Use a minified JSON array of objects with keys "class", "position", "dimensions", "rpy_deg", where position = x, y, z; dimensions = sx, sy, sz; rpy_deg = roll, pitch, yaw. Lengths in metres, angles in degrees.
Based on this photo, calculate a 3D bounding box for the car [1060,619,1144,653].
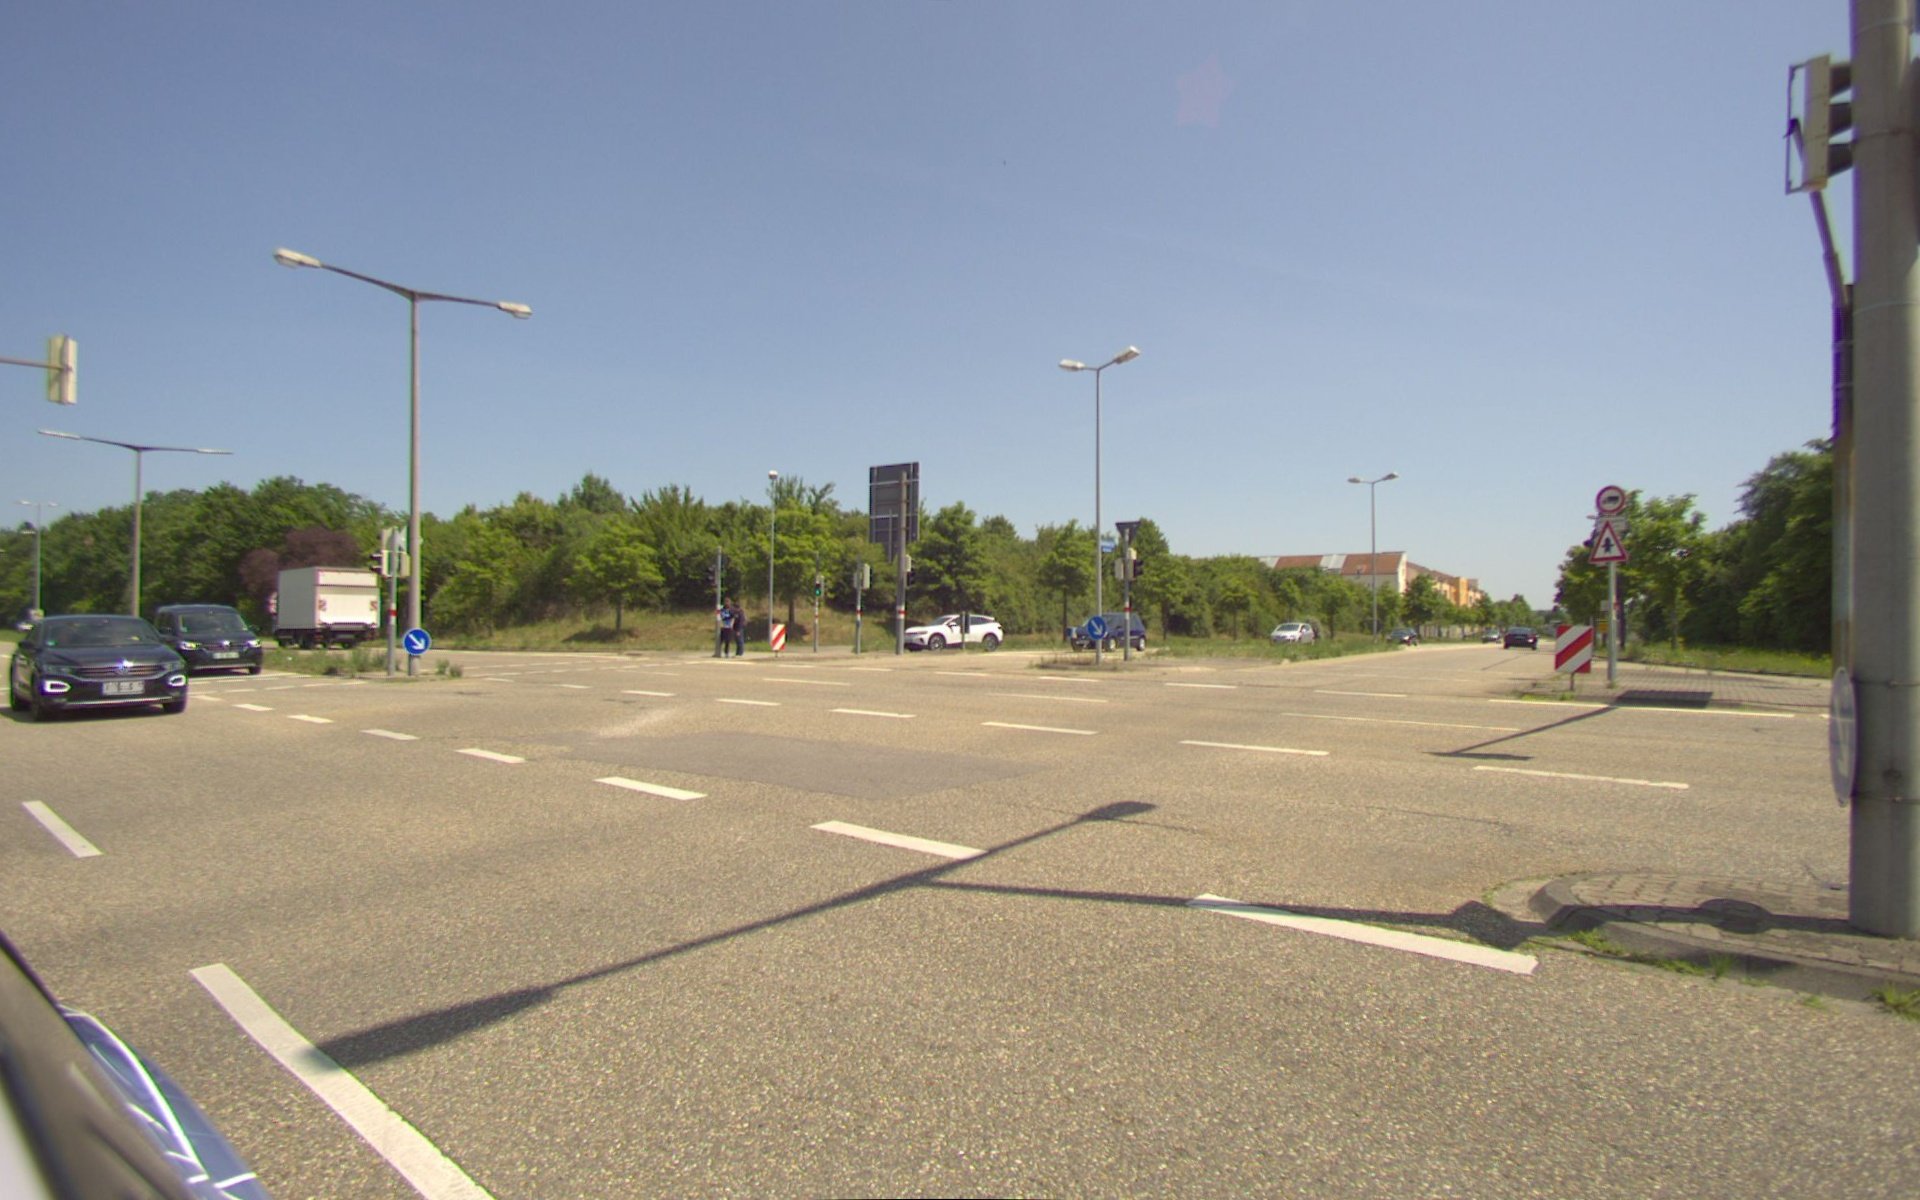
[{"class":"car","position":[5.856,1.456,41.377],"dimensions":[1.700,1.346,3.949],"rpy_deg":[-1,-2,37]}]

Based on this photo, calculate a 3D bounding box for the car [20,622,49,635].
[{"class":"car","position":[-102.946,3.171,112.538],"dimensions":[4.165,1.467,1.804],"rpy_deg":[-1,-2,40]}]

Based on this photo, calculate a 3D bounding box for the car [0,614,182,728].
[{"class":"car","position":[-13.692,1.006,15.840],"dimensions":[3.970,1.523,1.716],"rpy_deg":[-1,0,42]}]

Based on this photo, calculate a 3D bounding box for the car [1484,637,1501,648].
[{"class":"car","position":[64.412,5.173,122.365],"dimensions":[1.291,1.133,3.168],"rpy_deg":[0,1,38]}]

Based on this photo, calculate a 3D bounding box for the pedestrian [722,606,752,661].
[{"class":"pedestrian","position":[-7.036,1.047,31.940],"dimensions":[0.712,1.712,0.777],"rpy_deg":[0,-1,-29]}]

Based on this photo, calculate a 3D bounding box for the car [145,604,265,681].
[{"class":"car","position":[-19.600,1.057,26.206],"dimensions":[4.320,1.840,1.712],"rpy_deg":[-1,-2,42]}]

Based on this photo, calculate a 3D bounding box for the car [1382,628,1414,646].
[{"class":"car","position":[34.788,2.910,80.261],"dimensions":[1.629,1.371,3.953],"rpy_deg":[-1,-2,34]}]

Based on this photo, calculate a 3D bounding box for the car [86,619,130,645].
[{"class":"car","position":[-56.820,2.121,67.492],"dimensions":[4.222,1.676,1.688],"rpy_deg":[-1,-2,42]}]

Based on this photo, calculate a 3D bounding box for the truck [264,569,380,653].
[{"class":"truck","position":[-29.470,0.529,46.621],"dimensions":[7.265,3.597,2.659],"rpy_deg":[-1,-1,42]}]

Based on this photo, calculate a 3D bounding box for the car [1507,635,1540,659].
[{"class":"car","position":[35.273,2.933,63.342],"dimensions":[1.734,1.431,3.960],"rpy_deg":[-1,-2,29]}]

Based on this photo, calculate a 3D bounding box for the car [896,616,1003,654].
[{"class":"car","position":[-0.433,1.519,42.956],"dimensions":[4.238,1.513,1.883],"rpy_deg":[2,-5,-36]}]

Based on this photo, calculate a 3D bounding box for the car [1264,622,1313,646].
[{"class":"car","position":[19.484,2.024,59.919],"dimensions":[1.630,1.371,3.951],"rpy_deg":[-1,-2,36]}]

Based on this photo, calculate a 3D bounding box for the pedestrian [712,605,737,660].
[{"class":"pedestrian","position":[-7.579,1.030,32.579],"dimensions":[0.573,1.749,0.795],"rpy_deg":[0,-1,-29]}]
